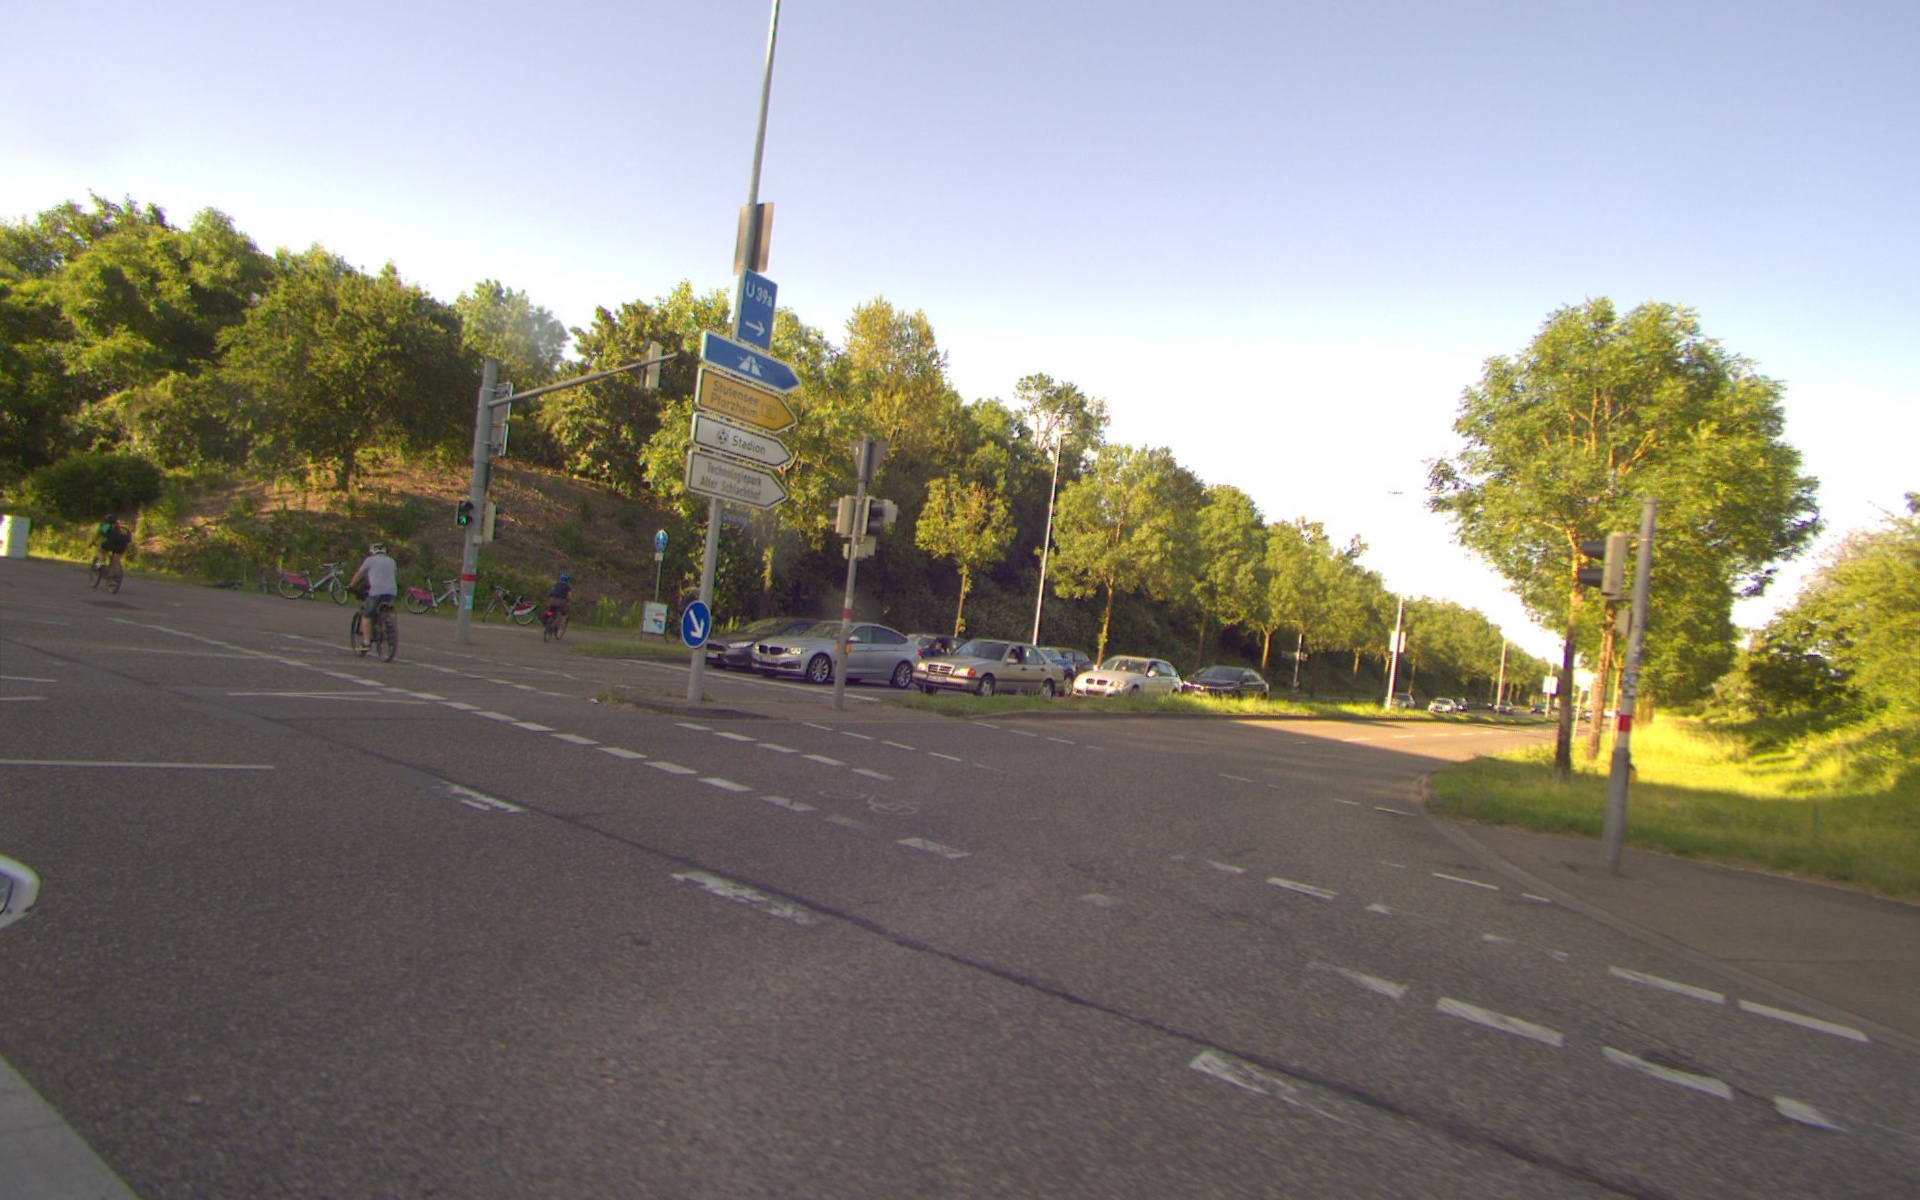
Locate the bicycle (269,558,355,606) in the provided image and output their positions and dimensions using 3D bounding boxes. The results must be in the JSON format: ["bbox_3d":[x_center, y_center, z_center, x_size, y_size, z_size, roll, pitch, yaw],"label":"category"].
[{"bbox_3d":[-17.076,-0.472,26.545,0.585,1.034,1.745,4,-4,39],"label":"bicycle"}]

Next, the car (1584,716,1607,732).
[{"bbox_3d":[74.994,14.626,118.751,1.801,1.530,4.550,4,-4,37],"label":"car"}]

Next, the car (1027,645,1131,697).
[{"bbox_3d":[4.606,2.738,38.416,1.801,1.530,4.550,4,-4,37],"label":"car"}]

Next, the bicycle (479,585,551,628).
[{"bbox_3d":[-12.823,0.193,29.019,0.586,1.034,1.743,4,-4,42],"label":"bicycle"}]

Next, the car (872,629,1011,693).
[{"bbox_3d":[-0.483,1.934,31.220,1.801,1.530,4.550,4,-4,37],"label":"car"}]

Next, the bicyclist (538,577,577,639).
[{"bbox_3d":[-10.226,0.217,25.586,0.656,1.491,0.750,6,-2,-12],"label":"bicyclist"}]

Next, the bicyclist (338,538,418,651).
[{"bbox_3d":[-8.533,-0.078,14.759,0.757,1.566,0.592,5,-3,34],"label":"bicyclist"}]

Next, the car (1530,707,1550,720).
[{"bbox_3d":[82.121,16.075,142.431,1.801,1.530,4.550,4,-4,37],"label":"car"}]

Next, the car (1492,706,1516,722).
[{"bbox_3d":[66.157,13.857,122.254,1.801,1.530,4.550,4,-4,37],"label":"car"}]

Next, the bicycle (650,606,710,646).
[{"bbox_3d":[-8.752,0.820,31.470,0.658,1.034,1.749,5,-3,30],"label":"bicycle"}]

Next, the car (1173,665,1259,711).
[{"bbox_3d":[10.867,3.745,42.445,1.801,1.530,4.550,4,-4,37],"label":"car"}]

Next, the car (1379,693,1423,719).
[{"bbox_3d":[31.933,7.668,72.823,1.801,1.530,4.550,4,-4,37],"label":"car"}]

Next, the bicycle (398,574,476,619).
[{"bbox_3d":[-14.540,-0.092,27.998,0.585,1.034,1.745,4,-4,39],"label":"bicycle"}]

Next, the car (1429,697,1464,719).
[{"bbox_3d":[42.265,9.388,87.320,1.801,1.530,4.550,4,-4,37],"label":"car"}]

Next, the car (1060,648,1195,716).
[{"bbox_3d":[4.869,2.378,28.742,1.801,1.530,4.550,4,-4,37],"label":"car"}]

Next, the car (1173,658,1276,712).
[{"bbox_3d":[9.394,3.025,35.432,1.801,1.530,4.550,4,-4,37],"label":"car"}]

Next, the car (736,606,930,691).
[{"bbox_3d":[-2.890,1.208,23.848,1.801,1.530,4.550,4,-4,37],"label":"car"}]

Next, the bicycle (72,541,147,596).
[{"bbox_3d":[-18.565,-0.690,21.954,1.721,1.035,0.593,4,-3,29],"label":"bicycle"}]

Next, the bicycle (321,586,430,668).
[{"bbox_3d":[-8.574,0.382,14.747,1.723,1.035,0.592,4,-3,34],"label":"bicycle"}]

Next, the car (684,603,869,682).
[{"bbox_3d":[-4.577,1.137,25.765,1.801,1.530,4.550,4,-4,37],"label":"car"}]

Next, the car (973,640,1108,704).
[{"bbox_3d":[2.527,2.219,30.413,1.801,1.530,4.550,4,-4,37],"label":"car"}]

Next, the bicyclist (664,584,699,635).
[{"bbox_3d":[-8.702,0.300,31.483,0.640,1.498,0.617,6,-1,29],"label":"bicyclist"}]

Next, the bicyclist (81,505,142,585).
[{"bbox_3d":[-18.515,-1.207,21.955,0.926,1.632,0.593,5,-2,29],"label":"bicyclist"}]

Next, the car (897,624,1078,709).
[{"bbox_3d":[0.747,1.599,23.465,1.801,1.530,4.550,4,-4,37],"label":"car"}]

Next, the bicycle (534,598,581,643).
[{"bbox_3d":[-10.289,0.537,25.765,0.662,1.034,2.053,7,-3,-12],"label":"bicycle"}]
